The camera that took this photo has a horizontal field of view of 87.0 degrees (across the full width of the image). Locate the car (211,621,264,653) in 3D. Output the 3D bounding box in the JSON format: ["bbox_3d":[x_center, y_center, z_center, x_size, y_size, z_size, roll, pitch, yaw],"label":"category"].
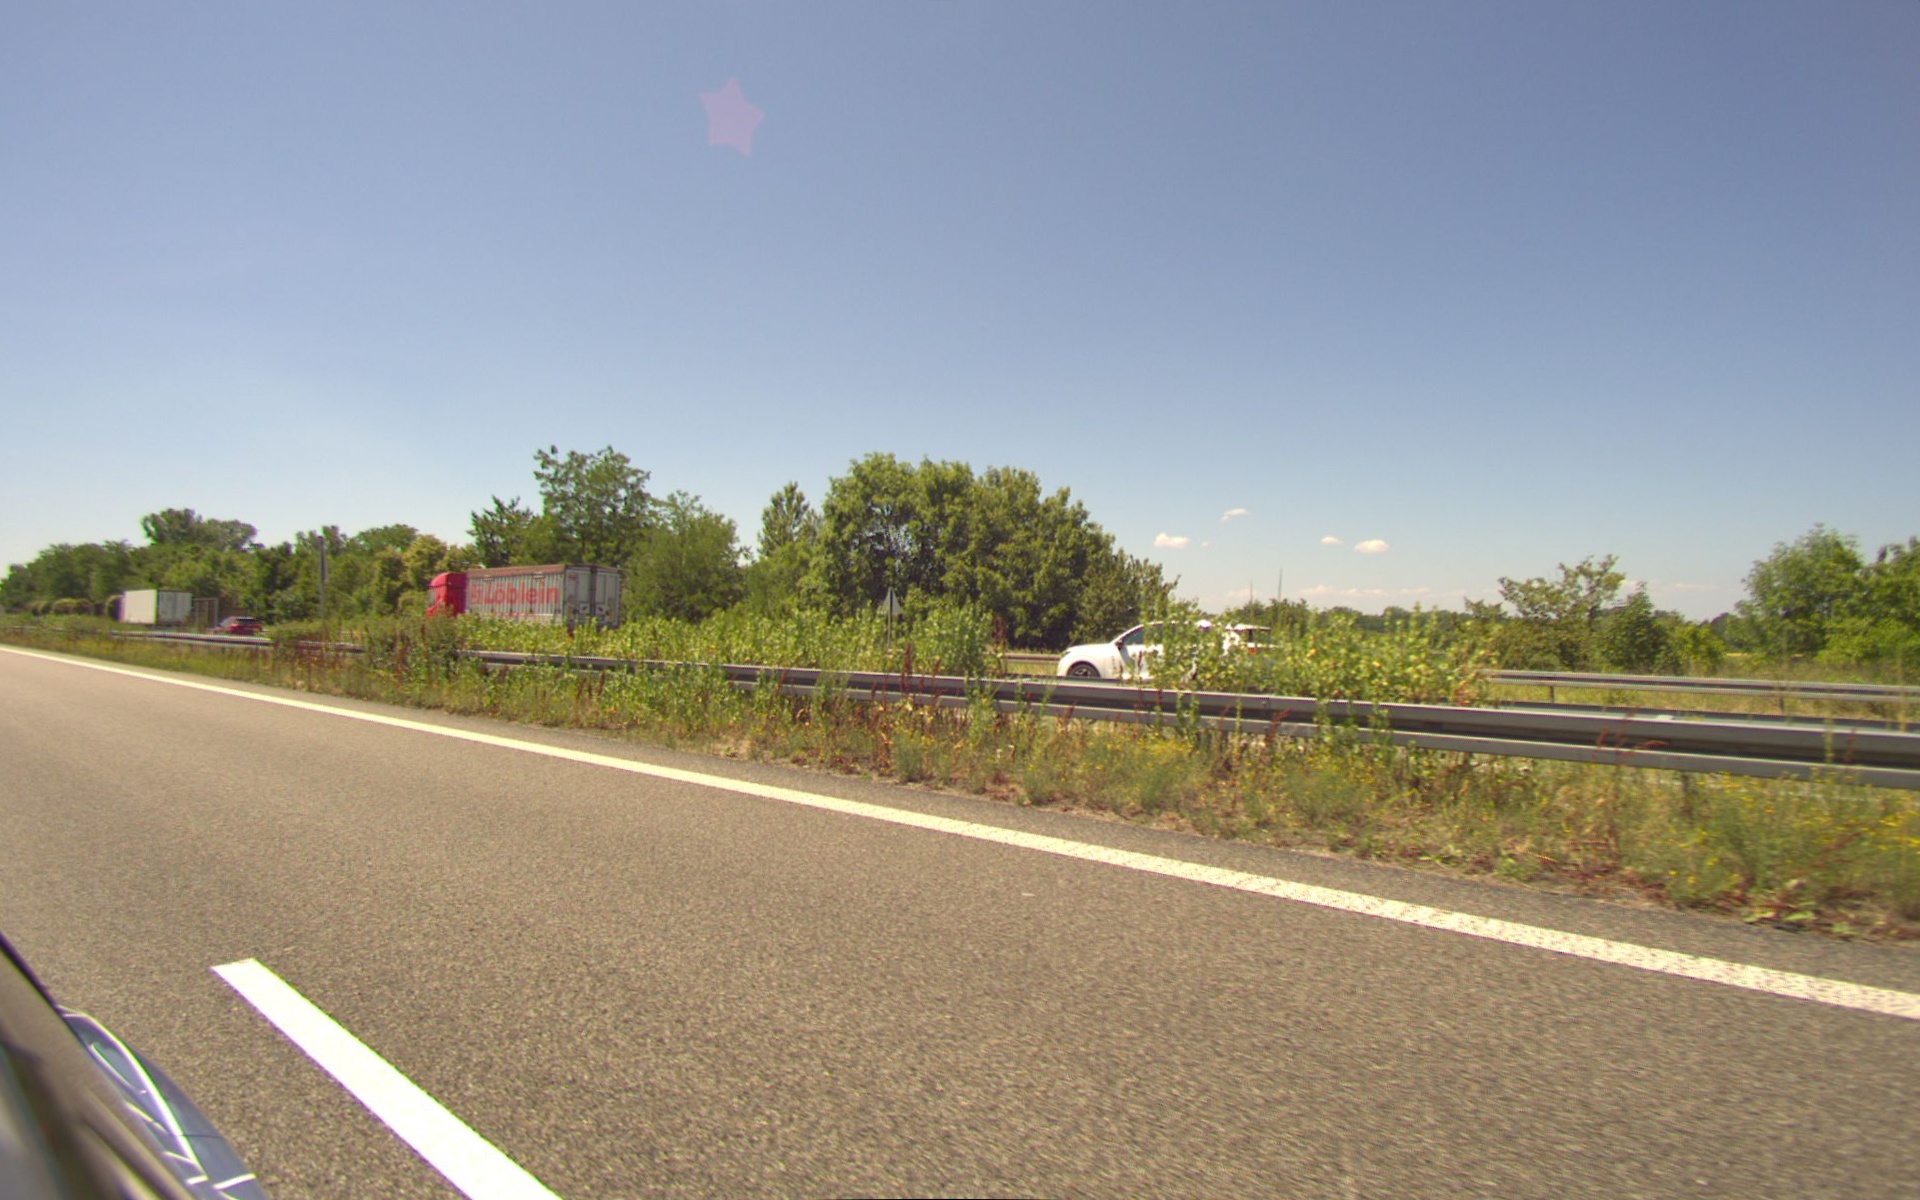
[{"bbox_3d":[-42.388,2.138,59.340,4.001,1.735,1.794,-1,0,43],"label":"car"}]

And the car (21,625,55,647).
[{"bbox_3d":[-81.792,3.163,89.762,4.179,1.884,1.854,-1,0,42],"label":"car"}]

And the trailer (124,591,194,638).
[{"bbox_3d":[-72.558,1.305,91.586,12.317,4.005,2.901,-1,0,42],"label":"trailer"}]

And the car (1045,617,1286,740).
[{"bbox_3d":[3.814,1.364,19.069,3.997,2.029,1.973,-1,0,41],"label":"car"}]

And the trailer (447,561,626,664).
[{"bbox_3d":[-18.614,0.548,43.975,10.625,4.005,2.900,-1,0,42],"label":"trailer"}]

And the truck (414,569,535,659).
[{"bbox_3d":[-23.062,0.653,47.938,6.360,4.006,2.929,-1,0,42],"label":"truck"}]
